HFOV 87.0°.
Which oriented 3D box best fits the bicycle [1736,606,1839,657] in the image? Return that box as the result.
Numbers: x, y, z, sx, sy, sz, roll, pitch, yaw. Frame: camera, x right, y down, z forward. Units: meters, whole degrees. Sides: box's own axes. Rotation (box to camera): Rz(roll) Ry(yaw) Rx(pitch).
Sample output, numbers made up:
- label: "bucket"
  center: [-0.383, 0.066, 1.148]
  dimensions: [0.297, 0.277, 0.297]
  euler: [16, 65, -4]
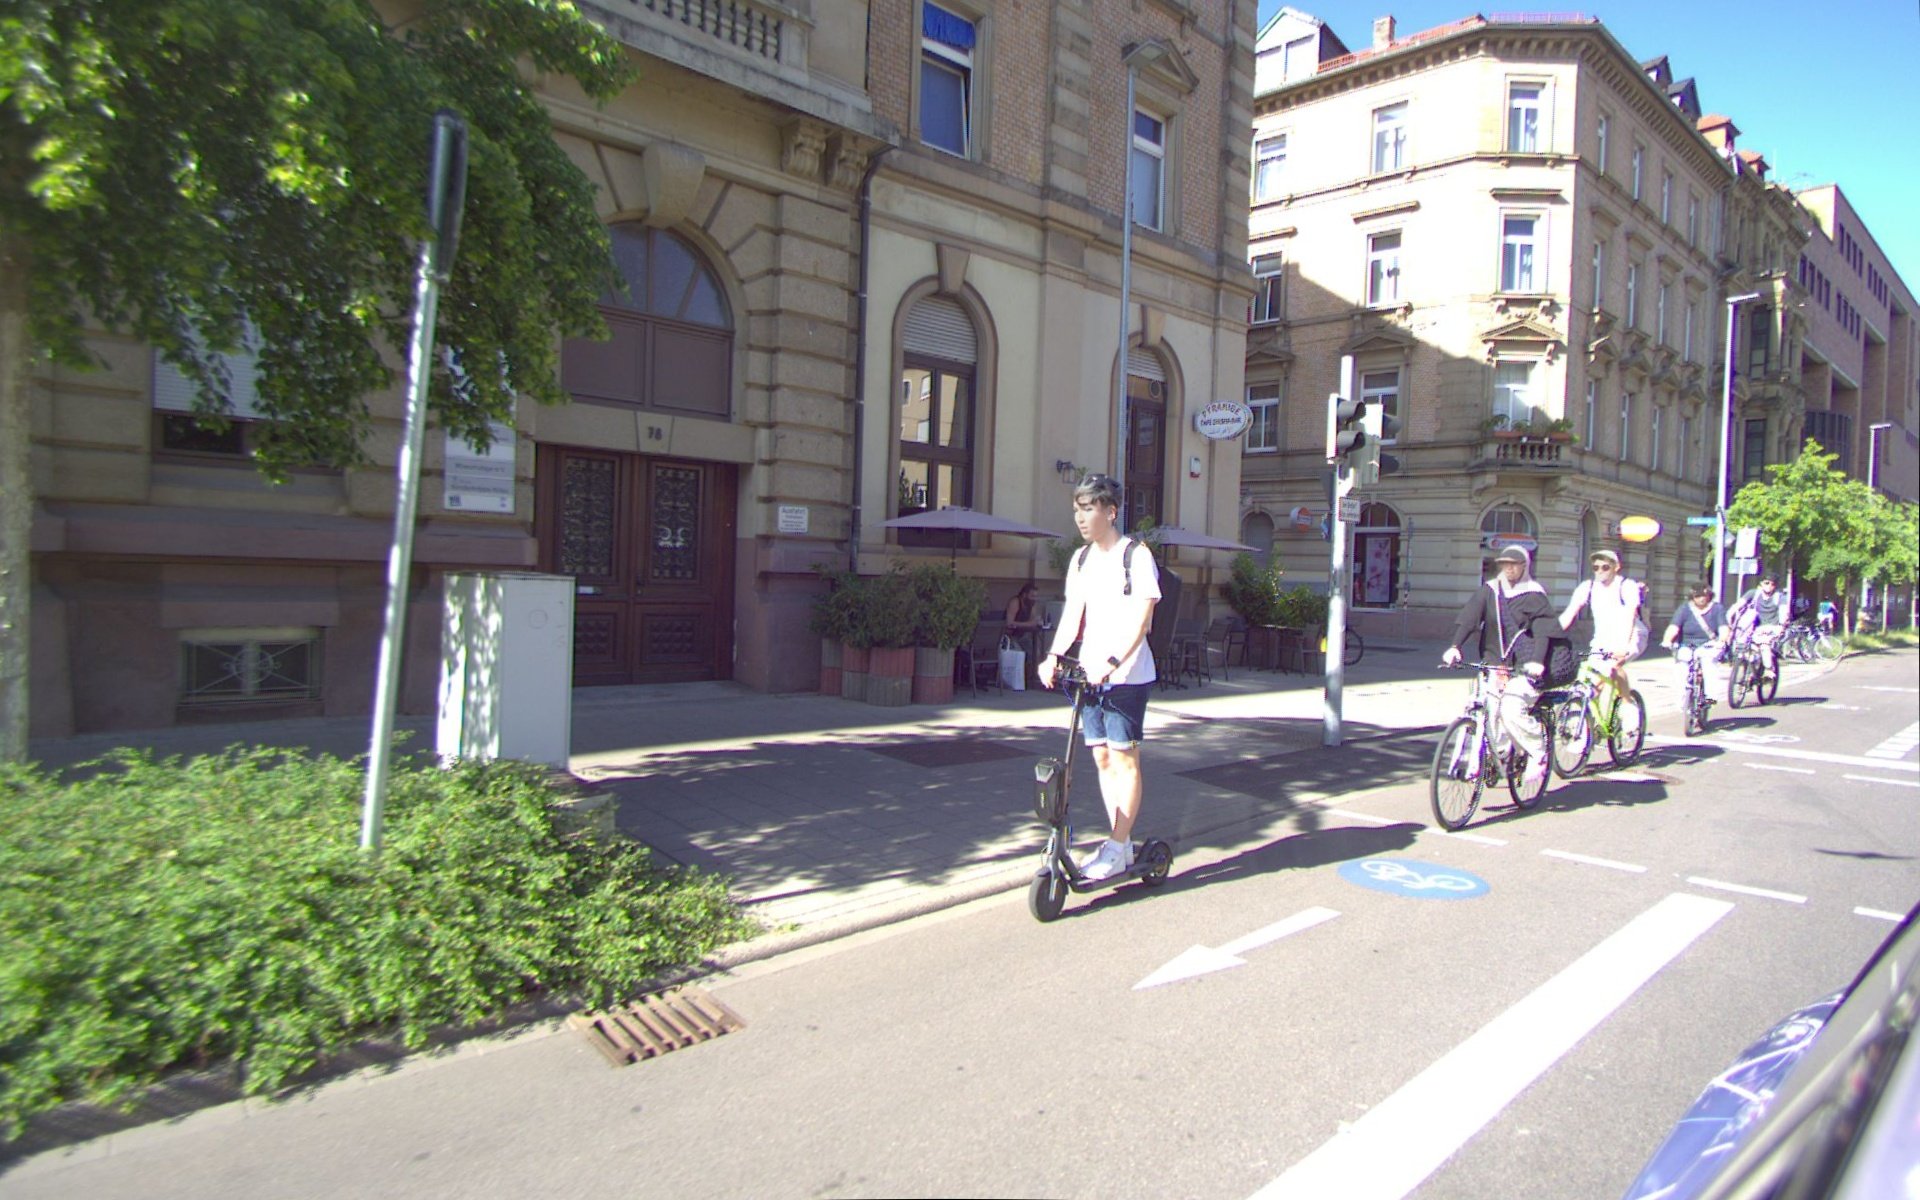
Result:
- label: "bicycle"
  center: [20.696, 0.759, 25.336]
  dimensions: [0.598, 1.061, 1.873]
  euler: [0, 5, -45]

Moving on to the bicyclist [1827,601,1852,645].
- label: "bicyclist"
  center: [33.387, 0.865, 38.425]
  dimensions: [0.781, 1.637, 0.578]
  euler: [0, 2, -43]

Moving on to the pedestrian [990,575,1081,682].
- label: "pedestrian"
  center: [0.964, 0.339, 12.923]
  dimensions: [0.872, 1.298, 0.727]
  euler: [0, 2, -41]

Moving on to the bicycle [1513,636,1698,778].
- label: "bicycle"
  center: [5.536, 0.853, 8.635]
  dimensions: [1.916, 1.019, 0.725]
  euler: [0, 0, -38]

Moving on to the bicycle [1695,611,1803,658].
- label: "bicycle"
  center: [18.815, 0.799, 24.191]
  dimensions: [0.580, 0.922, 1.911]
  euler: [0, 4, -31]

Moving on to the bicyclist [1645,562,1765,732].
- label: "bicyclist"
  center: [8.167, 0.480, 11.092]
  dimensions: [0.971, 1.748, 0.853]
  euler: [1, 0, -41]

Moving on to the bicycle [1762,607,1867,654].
- label: "bicycle"
  center: [23.644, 0.824, 28.027]
  dimensions: [0.833, 1.054, 2.062]
  euler: [0, 5, -41]

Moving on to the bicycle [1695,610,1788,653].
- label: "bicycle"
  center: [19.121, 0.747, 24.794]
  dimensions: [0.488, 0.936, 1.717]
  euler: [0, 2, -40]

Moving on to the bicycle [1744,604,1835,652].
- label: "bicycle"
  center: [22.406, 0.735, 27.359]
  dimensions: [1.115, 1.074, 1.677]
  euler: [0, 6, -42]

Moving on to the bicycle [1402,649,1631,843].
- label: "bicycle"
  center: [3.751, 0.887, 6.751]
  dimensions: [1.918, 1.019, 0.724]
  euler: [0, 0, -41]

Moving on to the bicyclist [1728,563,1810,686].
- label: "bicyclist"
  center: [11.155, 0.319, 13.958]
  dimensions: [0.879, 1.625, 0.724]
  euler: [1, 0, -41]

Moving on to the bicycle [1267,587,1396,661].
- label: "bicycle"
  center: [7.152, 0.439, 19.598]
  dimensions: [0.801, 1.247, 2.221]
  euler: [5, 0, -34]

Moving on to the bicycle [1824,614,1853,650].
- label: "bicycle"
  center: [33.402, 1.199, 38.465]
  dimensions: [2.062, 1.268, 0.578]
  euler: [-1, 3, -43]

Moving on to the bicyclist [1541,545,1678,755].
- label: "bicyclist"
  center: [5.540, 0.393, 8.631]
  dimensions: [0.959, 1.677, 0.700]
  euler: [1, 0, -38]

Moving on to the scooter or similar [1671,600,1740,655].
- label: "scooter or similar"
  center: [17.375, 0.622, 23.590]
  dimensions: [0.479, 1.212, 1.197]
  euler: [1, 2, -44]

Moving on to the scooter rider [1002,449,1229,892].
- label: "scooter rider"
  center: [0.755, 0.294, 4.864]
  dimensions: [0.883, 1.890, 0.661]
  euler: [1, 0, -44]

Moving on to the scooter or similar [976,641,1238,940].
- label: "scooter or similar"
  center: [0.712, 0.809, 4.791]
  dimensions: [1.130, 1.173, 0.646]
  euler: [0, 1, -41]

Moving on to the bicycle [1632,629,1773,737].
- label: "bicycle"
  center: [8.156, 0.857, 11.089]
  dimensions: [1.918, 1.019, 0.829]
  euler: [0, 0, -41]

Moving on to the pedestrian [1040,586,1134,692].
- label: "pedestrian"
  center: [1.528, 0.440, 12.182]
  dimensions: [0.866, 1.197, 0.719]
  euler: [0, 2, -41]

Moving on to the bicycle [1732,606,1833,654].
- label: "bicycle"
  center: [21.589, 0.761, 26.580]
  dimensions: [1.013, 1.043, 1.901]
  euler: [0, 5, -43]

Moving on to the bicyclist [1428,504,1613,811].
- label: "bicyclist"
  center: [3.722, 0.341, 6.709]
  dimensions: [1.071, 1.840, 0.725]
  euler: [1, 0, -40]

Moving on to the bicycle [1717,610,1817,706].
- label: "bicycle"
  center: [11.148, 0.754, 13.959]
  dimensions: [1.918, 1.209, 0.724]
  euler: [0, 0, -41]
